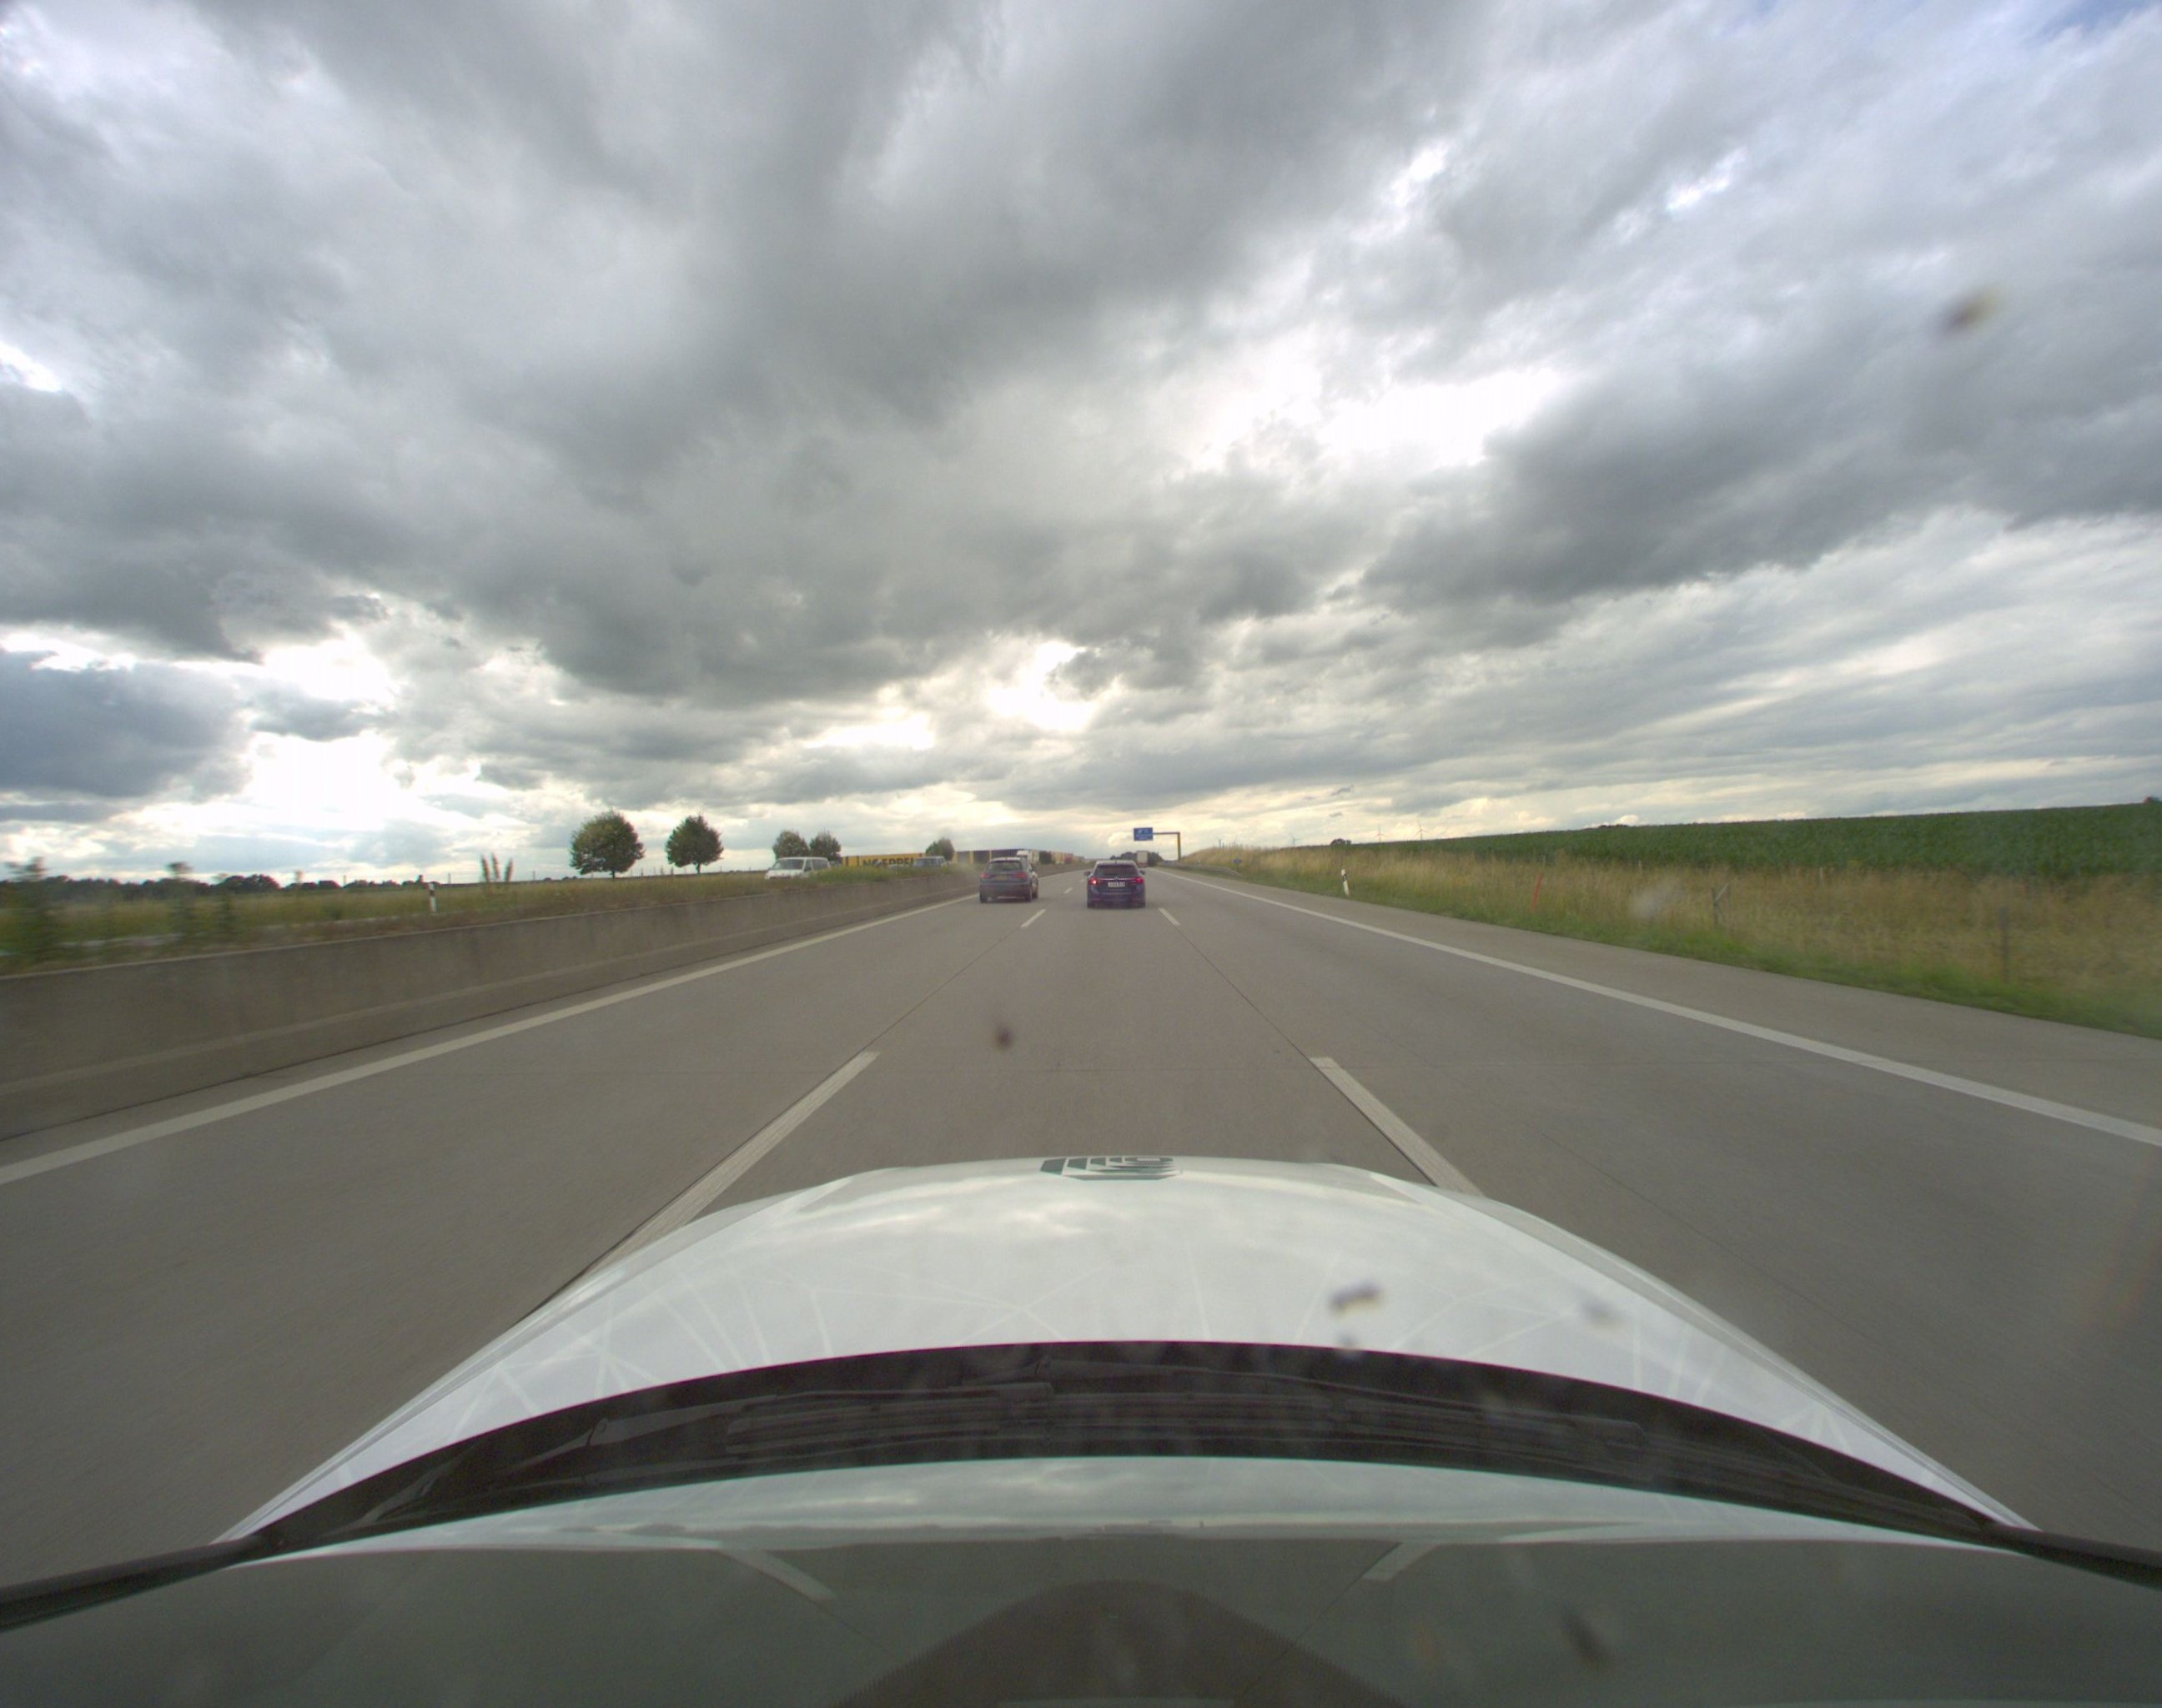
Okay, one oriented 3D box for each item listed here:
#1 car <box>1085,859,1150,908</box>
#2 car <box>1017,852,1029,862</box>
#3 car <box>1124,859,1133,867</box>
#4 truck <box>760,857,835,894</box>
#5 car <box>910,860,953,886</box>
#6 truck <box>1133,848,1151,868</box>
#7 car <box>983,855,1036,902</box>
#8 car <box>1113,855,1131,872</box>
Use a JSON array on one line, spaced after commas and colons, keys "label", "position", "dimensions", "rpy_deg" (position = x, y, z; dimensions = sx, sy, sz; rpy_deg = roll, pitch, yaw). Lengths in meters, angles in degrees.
[{"label": "car", "position": [1.072, 0.872, 25.650], "dimensions": [1.770, 1.413, 3.997], "rpy_deg": [-1, -1, -2]}, {"label": "car", "position": [-11.988, 0.542, 167.432], "dimensions": [1.986, 2.014, 4.001], "rpy_deg": [0, -1, 2]}, {"label": "car", "position": [12.618, 2.341, 216.575], "dimensions": [1.988, 2.014, 3.997], "rpy_deg": [0, -1, -2]}, {"label": "truck", "position": [-14.732, 1.105, 42.636], "dimensions": [1.939, 1.806, 5.129], "rpy_deg": [0, -1, 2]}, {"label": "car", "position": [-10.117, 1.292, 55.394], "dimensions": [1.986, 1.728, 4.111], "rpy_deg": [0, -1, 2]}, {"label": "truck", "position": [14.790, 0.995, 197.981], "dimensions": [3.934, 4.756, 12.083], "rpy_deg": [0, -1, 3]}, {"label": "car", "position": [-2.575, 0.848, 30.228], "dimensions": [1.789, 1.596, 5.151], "rpy_deg": [0, 0, -3]}, {"label": "car", "position": [5.046, 1.127, 99.591], "dimensions": [1.987, 2.014, 3.999], "rpy_deg": [0, -1, 0]}]
